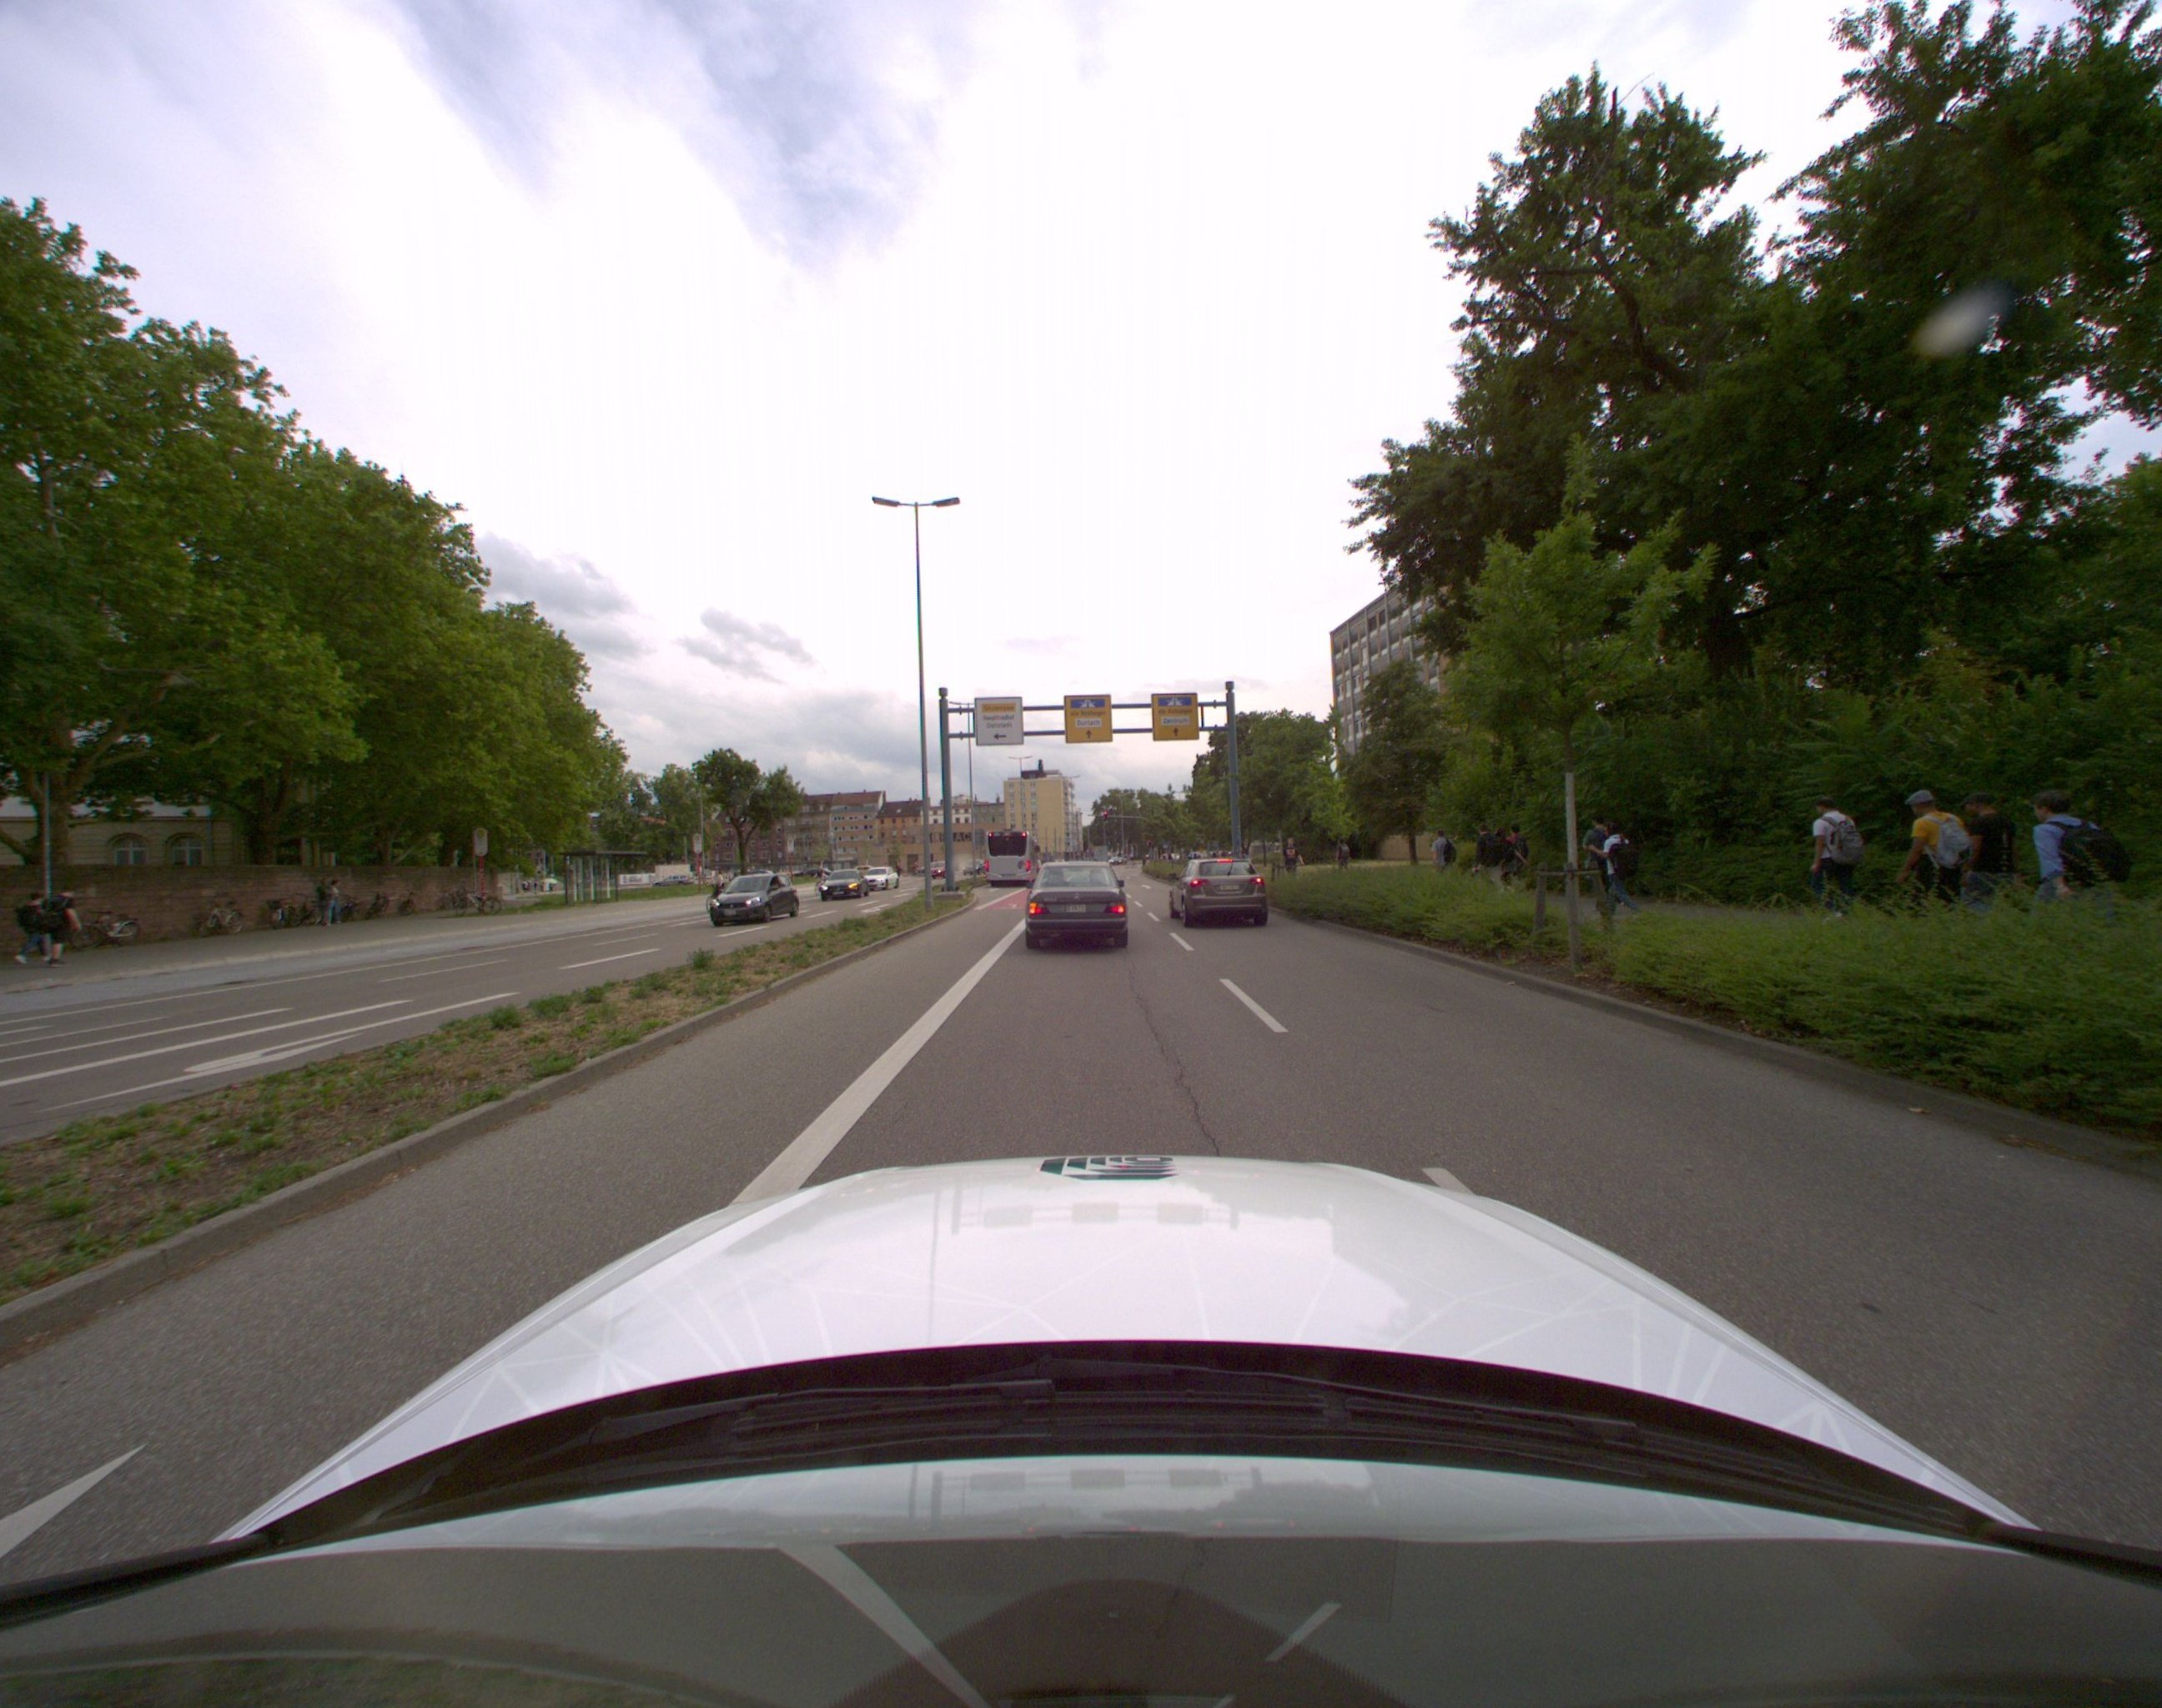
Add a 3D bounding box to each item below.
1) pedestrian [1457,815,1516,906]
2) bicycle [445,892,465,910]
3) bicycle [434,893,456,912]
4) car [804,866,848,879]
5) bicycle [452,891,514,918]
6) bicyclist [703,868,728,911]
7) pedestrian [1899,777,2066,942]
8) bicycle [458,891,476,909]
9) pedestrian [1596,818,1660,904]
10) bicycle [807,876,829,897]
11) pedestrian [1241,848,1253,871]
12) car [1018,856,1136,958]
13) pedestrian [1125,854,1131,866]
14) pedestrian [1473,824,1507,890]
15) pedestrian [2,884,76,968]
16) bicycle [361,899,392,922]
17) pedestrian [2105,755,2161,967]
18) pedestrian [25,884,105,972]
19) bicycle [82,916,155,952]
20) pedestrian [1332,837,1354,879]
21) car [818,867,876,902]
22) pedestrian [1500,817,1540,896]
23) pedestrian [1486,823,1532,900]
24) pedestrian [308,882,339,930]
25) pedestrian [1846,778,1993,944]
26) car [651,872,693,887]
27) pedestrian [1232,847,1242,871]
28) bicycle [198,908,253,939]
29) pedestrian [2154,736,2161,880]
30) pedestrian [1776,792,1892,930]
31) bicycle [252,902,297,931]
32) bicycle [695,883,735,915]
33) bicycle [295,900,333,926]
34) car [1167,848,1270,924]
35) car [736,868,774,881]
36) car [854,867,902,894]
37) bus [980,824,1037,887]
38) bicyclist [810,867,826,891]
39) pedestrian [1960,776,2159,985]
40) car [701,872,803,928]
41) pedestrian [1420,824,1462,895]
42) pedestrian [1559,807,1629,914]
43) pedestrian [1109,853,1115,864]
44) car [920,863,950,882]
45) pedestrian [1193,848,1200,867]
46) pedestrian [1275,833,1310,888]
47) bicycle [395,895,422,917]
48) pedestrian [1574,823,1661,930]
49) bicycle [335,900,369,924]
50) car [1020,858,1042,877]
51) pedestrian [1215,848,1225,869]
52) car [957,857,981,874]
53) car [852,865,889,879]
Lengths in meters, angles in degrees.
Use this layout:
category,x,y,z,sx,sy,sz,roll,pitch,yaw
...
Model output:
category,x,y,z,sx,sy,sz,roll,pitch,yaw
pedestrian,8.488,0.134,17.069,0.690,1.821,0.954,-3,0,0
bicycle,-33.559,2.532,43.672,0.483,0.907,1.607,0,-1,-24
bicycle,-32.575,2.496,41.726,0.483,0.907,1.607,0,-1,-24
car,-29.536,2.142,94.373,4.662,1.475,1.657,-1,0,-6
bicycle,-23.801,2.010,32.488,0.467,0.918,2.344,-2,0,8
bicyclist,-15.723,1.523,35.052,0.615,1.782,0.812,-2,0,5
pedestrian,9.748,0.056,8.849,0.655,1.667,0.970,-3,0,-2
bicycle,-34.309,2.563,45.518,0.483,0.907,1.607,0,-1,-24
pedestrian,10.407,0.127,15.519,0.633,1.584,0.785,-3,0,0
bicycle,-15.524,1.904,48.125,0.580,1.170,1.964,-2,0,0
pedestrian,11.057,0.380,54.249,0.652,1.470,0.564,-3,0,17
car,-0.144,0.814,14.536,1.757,1.489,4.167,-2,0,-3
pedestrian,6.427,0.867,111.096,0.559,1.592,0.625,-1,-2,-39
pedestrian,10.422,0.065,20.758,0.466,1.633,0.653,-3,0,0
pedestrian,-23.412,1.596,18.319,0.763,1.782,0.776,-1,-2,-29
bicycle,-29.578,2.362,34.213,0.442,0.878,1.609,0,-1,-21
pedestrian,9.343,0.046,6.662,0.655,1.766,0.957,-3,0,-2
pedestrian,-21.560,1.544,17.310,0.763,1.782,0.915,-1,-2,-29
bicycle,-25.661,2.118,21.742,0.442,0.827,1.611,0,-1,-17
pedestrian,10.596,0.162,32.990,0.585,1.683,0.748,-3,0,0
car,-11.346,1.447,39.797,1.798,1.489,4.398,-2,0,-4
pedestrian,10.062,0.066,18.696,0.482,1.763,0.664,-3,0,0
pedestrian,9.499,0.166,18.095,0.554,1.655,0.753,-3,0,0
pedestrian,-26.839,1.830,28.848,0.561,1.668,0.623,-2,-2,-17
pedestrian,9.023,0.070,8.800,0.655,1.689,0.841,-3,0,-2
car,-49.128,3.063,97.890,4.149,1.649,1.643,-3,0,-7
pedestrian,11.392,0.354,59.399,0.641,1.713,0.564,-3,0,15
bicycle,-26.737,2.159,25.476,0.442,0.827,1.611,0,-1,-17
pedestrian,7.469,0.082,5.001,0.655,1.745,0.779,-3,0,-2
pedestrian,10.030,0.090,10.878,0.719,1.744,0.812,-3,0,0
bicycle,-27.453,2.123,27.741,0.417,0.878,1.546,0,-1,-17
bicycle,-15.712,1.918,35.006,0.615,1.217,2.047,-2,0,5
bicycle,-28.029,2.133,29.781,0.347,0.878,1.513,0,-1,-17
car,2.950,0.649,18.219,1.718,1.457,3.737,-2,0,1
car,-37.463,2.353,93.660,3.761,1.394,1.580,-1,0,-9
car,-12.682,1.618,51.114,1.795,1.489,4.416,-2,0,0
bus,-4.270,0.083,49.581,2.824,3.390,8.177,-2,0,-2
bicyclist,-15.542,1.474,48.158,0.577,1.419,0.812,-2,0,4
pedestrian,8.301,0.210,6.950,0.655,1.648,0.811,-3,0,-2
car,-10.138,1.373,25.349,1.566,1.489,3.637,-2,0,1
pedestrian,9.129,0.131,20.670,0.617,1.735,0.814,-3,0,0
pedestrian,9.093,0.108,14.452,0.654,1.821,0.812,-3,0,0
pedestrian,5.924,0.876,156.416,0.972,2.013,0.980,-2,0,1
car,-12.672,1.576,71.033,1.796,1.489,4.287,-2,0,0
pedestrian,12.172,0.390,86.014,0.612,2.013,0.597,-2,0,-1
pedestrian,7.370,0.222,28.407,0.925,1.830,0.892,-3,0,27
bicycle,-30.819,2.374,37.334,0.483,0.907,1.608,-2,0,-23
pedestrian,8.486,0.343,12.912,0.773,1.602,0.812,-3,0,0
bicycle,-28.818,2.277,32.207,0.442,0.878,1.609,0,-1,-21
car,-4.184,1.109,68.495,1.651,1.396,3.857,-2,1,-3
pedestrian,11.848,0.400,69.415,0.796,1.713,0.767,-3,0,13
car,-11.714,1.177,85.408,1.796,1.665,4.299,-4,0,0
car,-24.553,2.039,94.979,3.850,1.517,1.657,-1,0,-5
